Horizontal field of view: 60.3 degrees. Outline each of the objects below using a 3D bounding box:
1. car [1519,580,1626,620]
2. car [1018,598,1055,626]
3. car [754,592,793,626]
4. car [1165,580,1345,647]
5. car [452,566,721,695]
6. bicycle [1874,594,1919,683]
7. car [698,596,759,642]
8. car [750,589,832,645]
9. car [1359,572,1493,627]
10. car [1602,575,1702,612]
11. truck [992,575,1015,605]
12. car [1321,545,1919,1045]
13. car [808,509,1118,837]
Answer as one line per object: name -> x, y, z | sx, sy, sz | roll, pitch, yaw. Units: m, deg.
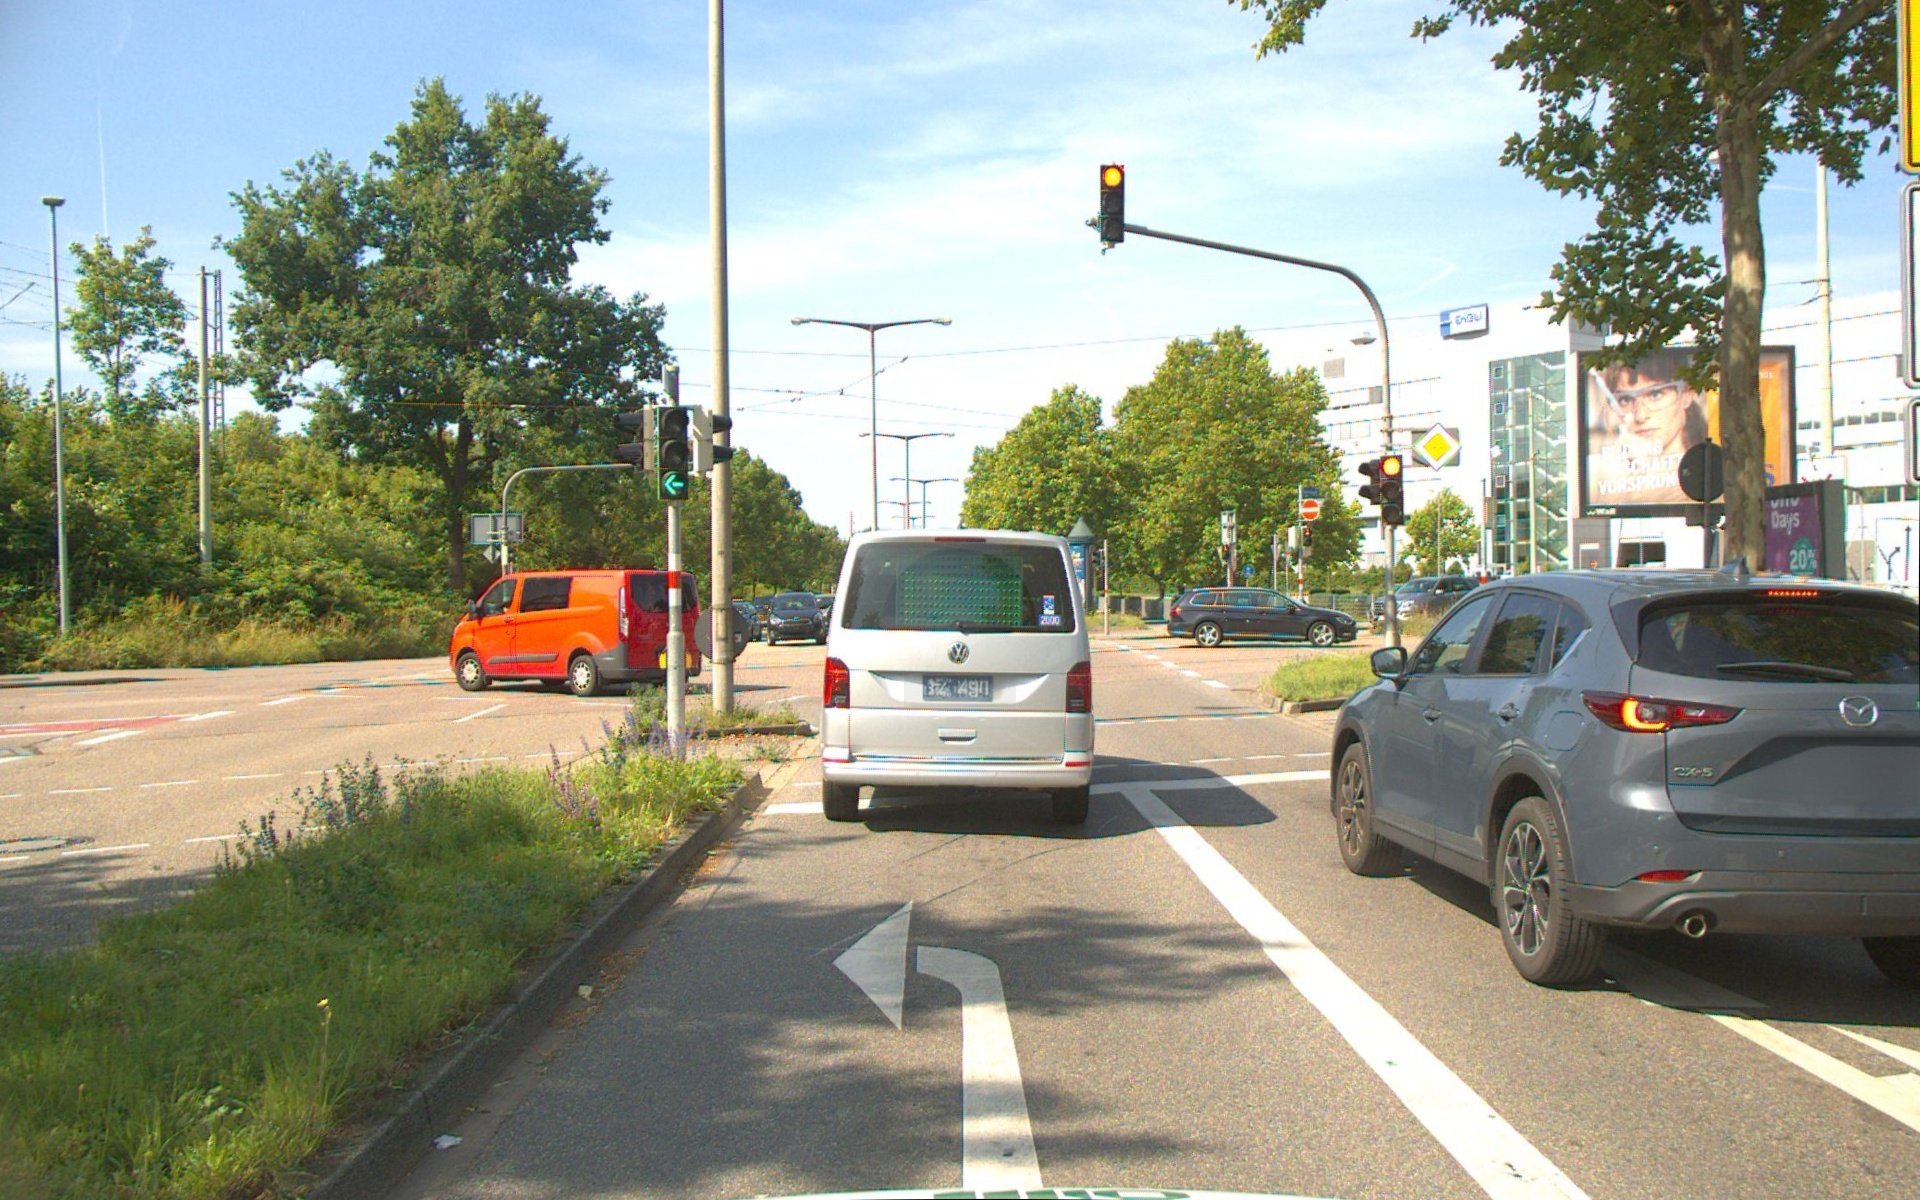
car -> 24.094, -0.026, 64.994 | 4.577, 1.469, 1.758 | -1, 0, -37
car -> 3.725, 0.557, 80.159 | 1.608, 1.258, 3.255 | -1, 0, 5
car -> -10.371, 0.488, 92.227 | 1.812, 1.846, 3.998 | -1, 0, -3
car -> 7.352, 0.333, 41.123 | 4.286, 1.537, 1.853 | -1, 0, 13
car -> -6.216, 0.484, 27.281 | 4.473, 1.958, 1.966 | -1, 0, 39
bicycle -> 12.888, 0.471, 21.393 | 1.748, 1.127, 0.504 | -2, -1, 18
car -> -8.511, 0.663, 61.021 | 1.812, 1.589, 3.998 | -1, 0, -3
car -> -5.358, 0.513, 52.087 | 1.779, 1.633, 4.358 | -1, 0, -16
car -> 15.510, -0.040, 54.968 | 4.577, 1.718, 1.891 | -1, 0, -37
car -> 28.603, -0.276, 68.287 | 4.577, 1.469, 1.758 | -1, 0, -37
truck -> 6.727, -1.546, 253.784 | 3.124, 4.431, 13.152 | -1, 0, 3
car -> 3.124, 0.669, 7.886 | 1.730, 1.688, 4.495 | 1, 0, -1
car -> 0.001, 0.445, 12.708 | 1.902, 2.006, 5.021 | 0, 0, 0
